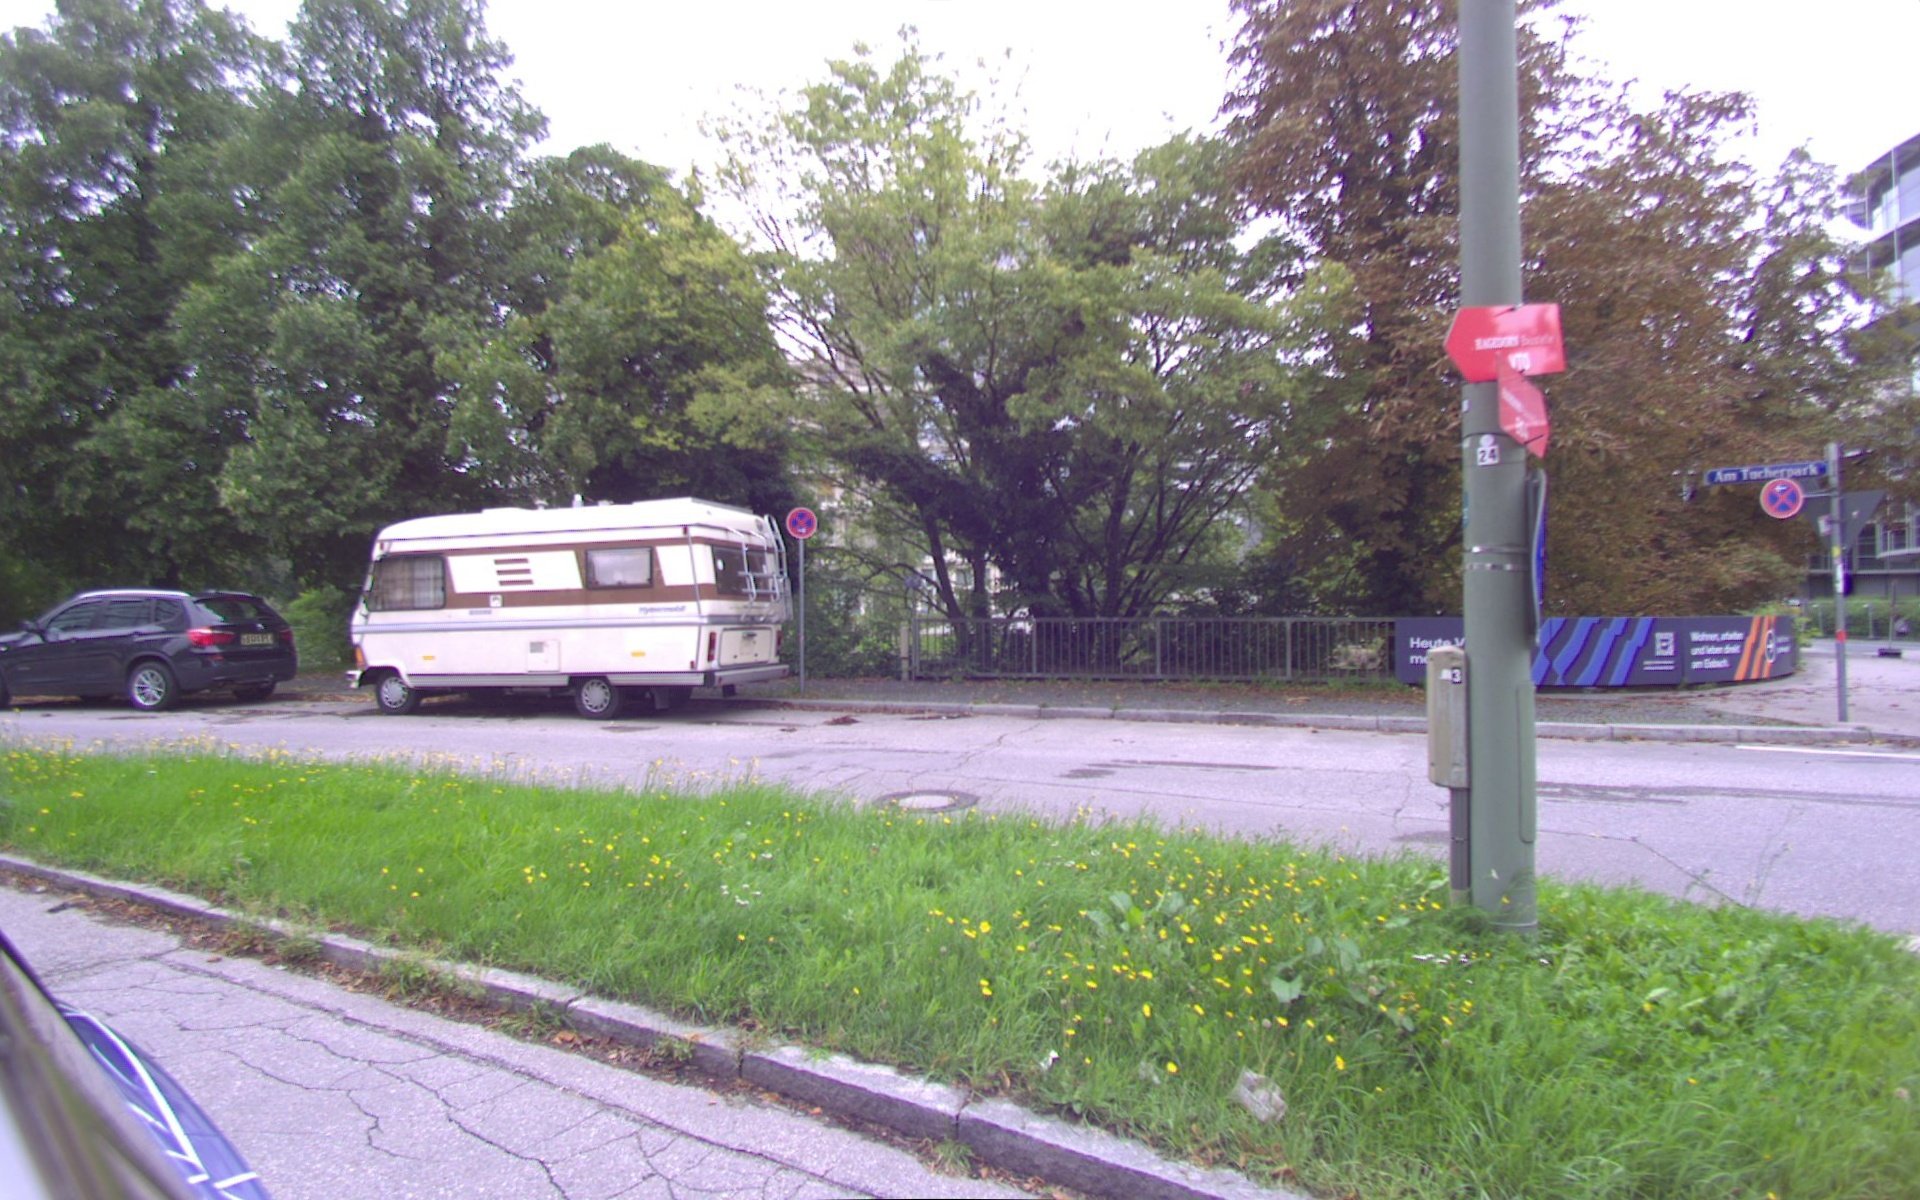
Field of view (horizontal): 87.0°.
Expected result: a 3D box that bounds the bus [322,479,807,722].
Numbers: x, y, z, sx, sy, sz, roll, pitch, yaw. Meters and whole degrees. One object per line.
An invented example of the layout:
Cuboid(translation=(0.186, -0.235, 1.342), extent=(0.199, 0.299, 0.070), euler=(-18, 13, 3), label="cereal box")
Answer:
Cuboid(translation=(-5.075, 0.053, 13.194), extent=(5.682, 2.719, 2.311), euler=(-1, -1, 16), label="bus")

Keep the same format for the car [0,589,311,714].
Cuboid(translation=(-12.070, 0.719, 14.679), extent=(4.408, 1.662, 1.777), euler=(-1, -1, 8), label="car")
